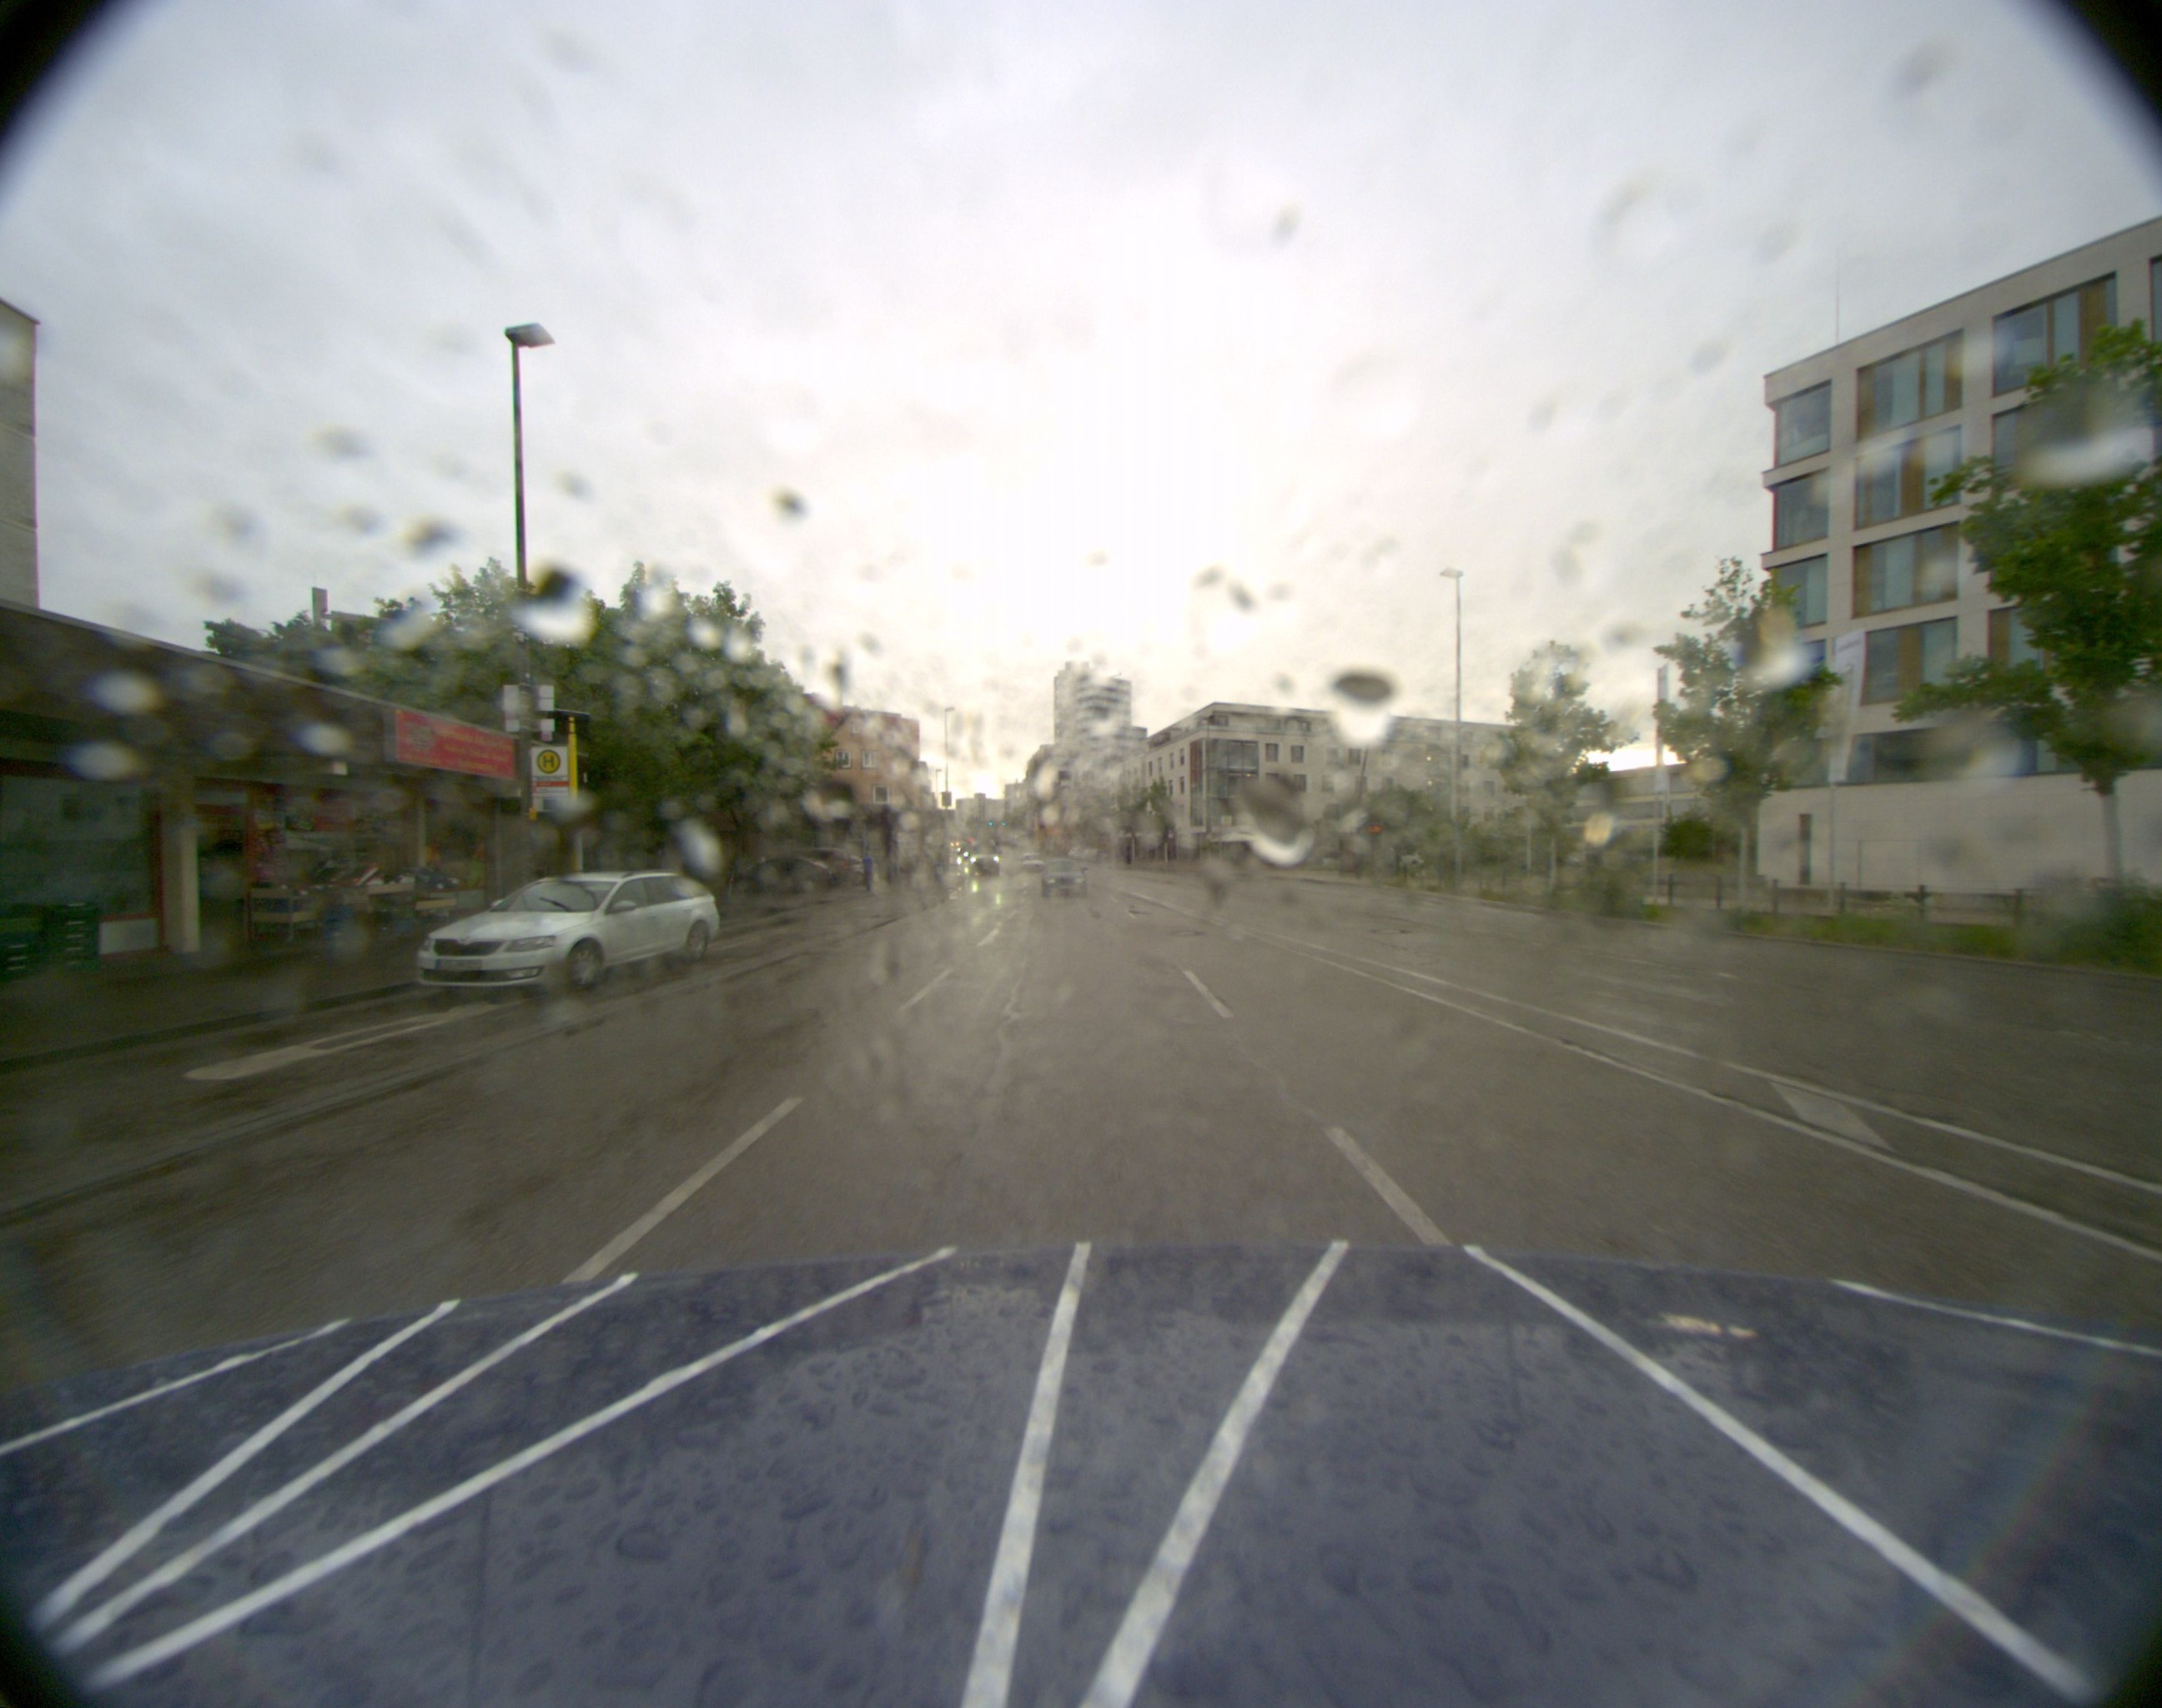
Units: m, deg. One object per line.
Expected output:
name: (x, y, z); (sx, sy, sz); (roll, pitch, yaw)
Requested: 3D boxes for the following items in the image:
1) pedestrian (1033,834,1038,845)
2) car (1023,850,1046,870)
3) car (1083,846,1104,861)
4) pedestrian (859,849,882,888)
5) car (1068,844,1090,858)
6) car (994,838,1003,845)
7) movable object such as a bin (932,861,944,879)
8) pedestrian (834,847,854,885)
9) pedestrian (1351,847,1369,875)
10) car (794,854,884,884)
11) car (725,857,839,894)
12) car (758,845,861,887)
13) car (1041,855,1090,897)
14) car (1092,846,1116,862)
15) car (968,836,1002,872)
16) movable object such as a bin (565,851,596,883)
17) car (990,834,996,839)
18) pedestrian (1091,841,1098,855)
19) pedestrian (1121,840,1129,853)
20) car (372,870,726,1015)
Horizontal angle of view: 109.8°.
pedestrian: (-8.688, -2.751, 144.650); (0.663, 1.911, 0.945); (-3, 4, -18)
car: (-3.538, 0.451, 57.438); (1.663, 1.301, 3.991); (0, 3, -5)
car: (1.371, -0.062, 84.455); (1.697, 1.502, 4.572); (0, 3, -7)
pedestrian: (-9.357, 0.650, 33.836); (0.878, 1.727, 0.759); (1, 0, -7)
car: (-0.242, -0.328, 90.879); (1.802, 1.455, 4.471); (-1, 3, -12)
car: (-20.961, -3.155, 193.446); (1.887, 1.515, 4.178); (0, 3, -10)
movable object such as a bin: (-8.316, 0.924, 44.160); (0.638, 1.068, 0.698); (0, 0, -6)
pedestrian: (-11.509, 0.564, 36.880); (0.711, 1.811, 0.794); (-2, 4, -35)
pedestrian: (17.544, 0.436, 47.801); (0.786, 1.736, 0.672); (-1, 3, -24)
car: (-12.091, 0.735, 38.183); (3.999, 1.439, 1.745); (0, 1, -5)
car: (-12.577, 0.887, 32.145); (4.161, 1.446, 1.801); (0, 1, -7)
car: (-12.331, 0.524, 34.727); (4.106, 1.860, 1.875); (0, 1, -5)
car: (-0.676, 0.836, 30.477); (1.689, 1.373, 3.790); (-1, 3, -5)
car: (2.362, 0.013, 79.387); (1.593, 1.573, 4.465); (0, 1, -10)
car: (-7.012, -0.053, 56.282); (2.298, 2.369, 6.618); (0, 3, -5)
movable object such as a bin: (-16.641, 0.427, 25.261); (0.646, 1.049, 0.640); (0, 1, -10)
car: (-27.510, -5.363, 237.525); (1.655, 1.410, 4.133); (2, 2, -9)
pedestrian: (1.747, -0.725, 98.581); (0.803, 1.778, 0.880); (0, 3, -11)
pedestrian: (5.848, -1.020, 101.206); (0.811, 1.729, 1.001); (0, 3, -11)
car: (-7.018, 1.034, 10.761); (1.734, 1.489, 4.481); (1, 0, 2)
